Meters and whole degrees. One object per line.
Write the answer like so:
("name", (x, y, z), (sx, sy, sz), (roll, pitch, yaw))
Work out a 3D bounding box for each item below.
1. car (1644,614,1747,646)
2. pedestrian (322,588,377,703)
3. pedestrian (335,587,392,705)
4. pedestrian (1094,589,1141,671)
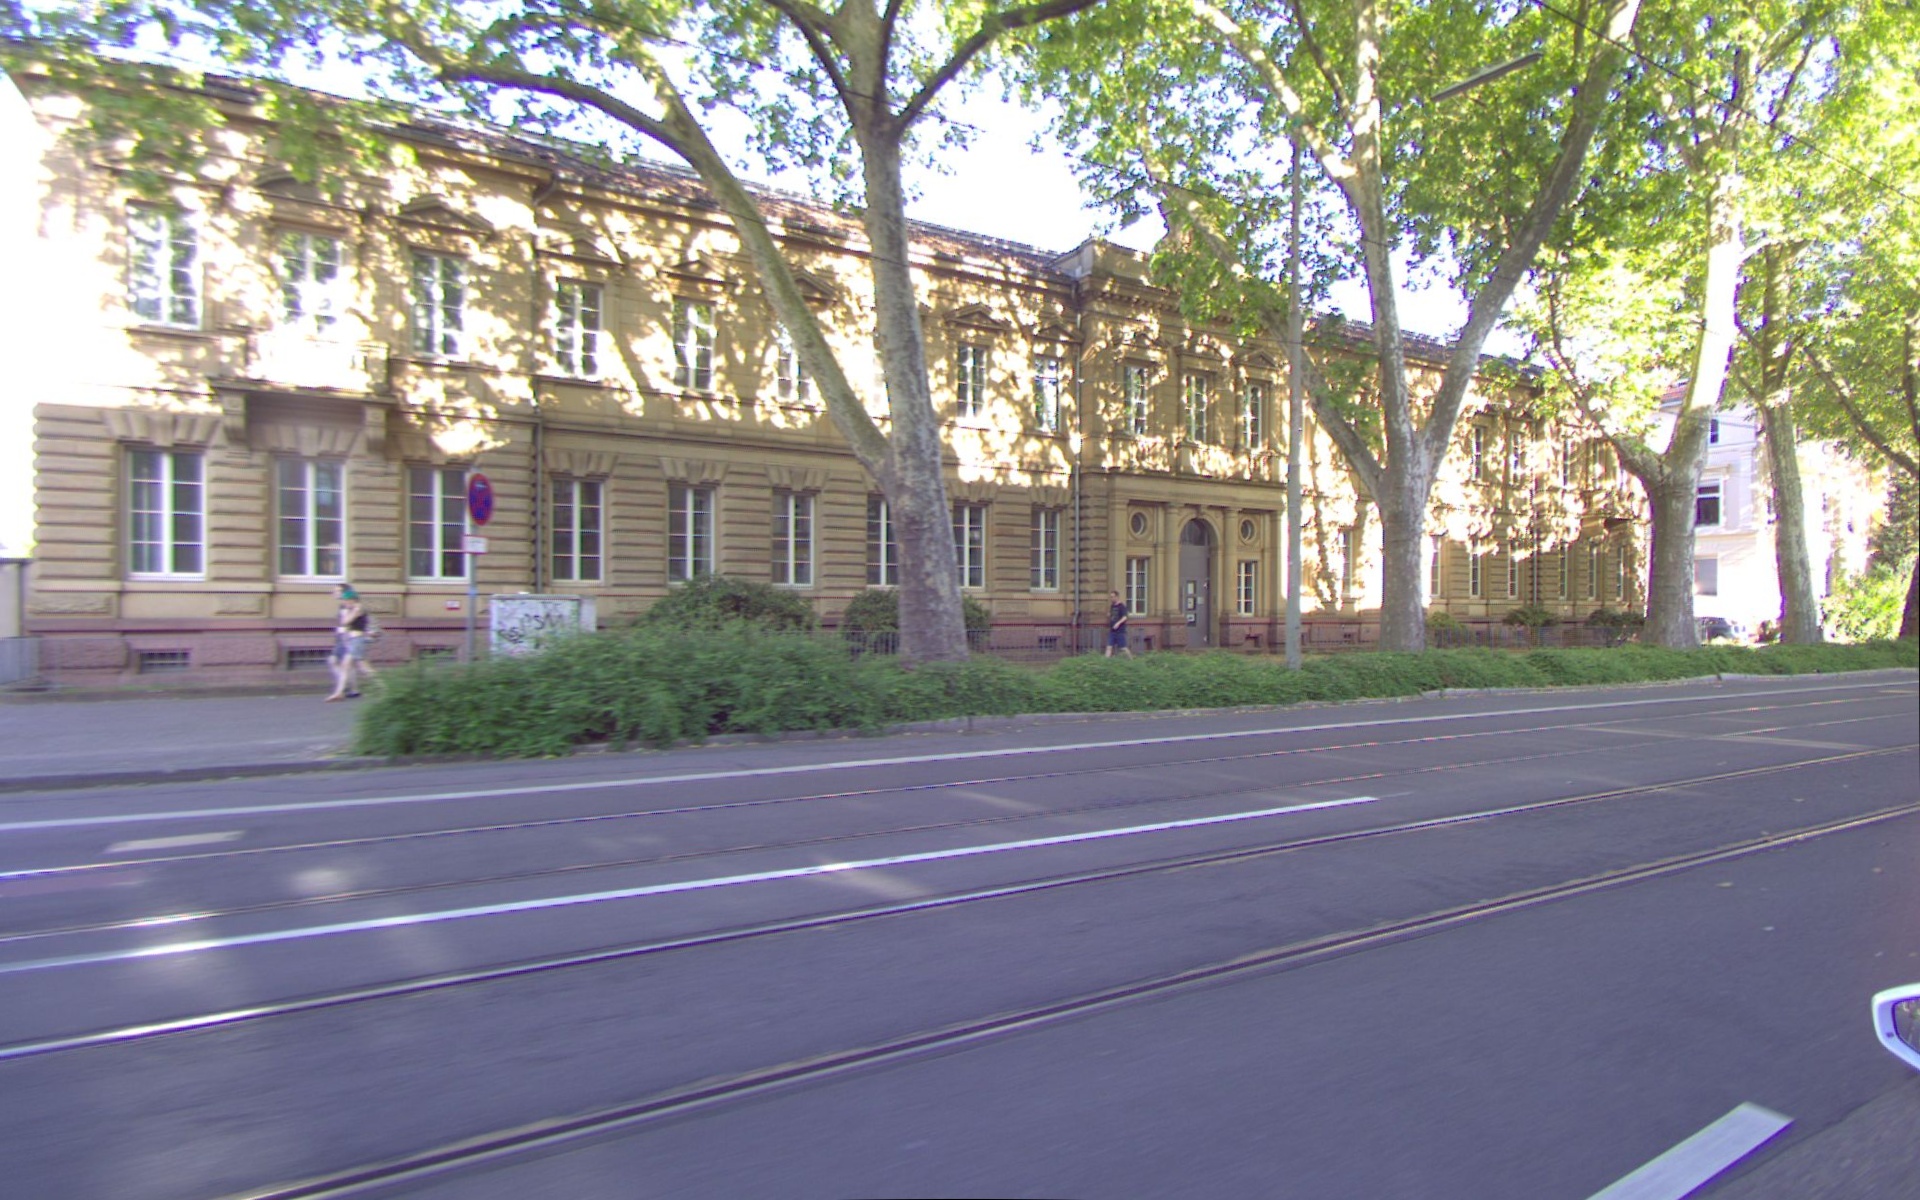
("car", (36.101, 1.439, 49.390), (1.674, 1.437, 3.759), (-3, 0, -30))
("pedestrian", (-9.416, 0.678, 15.492), (0.656, 1.720, 0.666), (1, 0, -37))
("pedestrian", (-8.929, 0.670, 15.028), (0.651, 1.720, 0.629), (1, 0, -38))
("pedestrian", (3.686, 0.687, 23.527), (0.830, 1.874, 0.713), (1, 0, -38))
